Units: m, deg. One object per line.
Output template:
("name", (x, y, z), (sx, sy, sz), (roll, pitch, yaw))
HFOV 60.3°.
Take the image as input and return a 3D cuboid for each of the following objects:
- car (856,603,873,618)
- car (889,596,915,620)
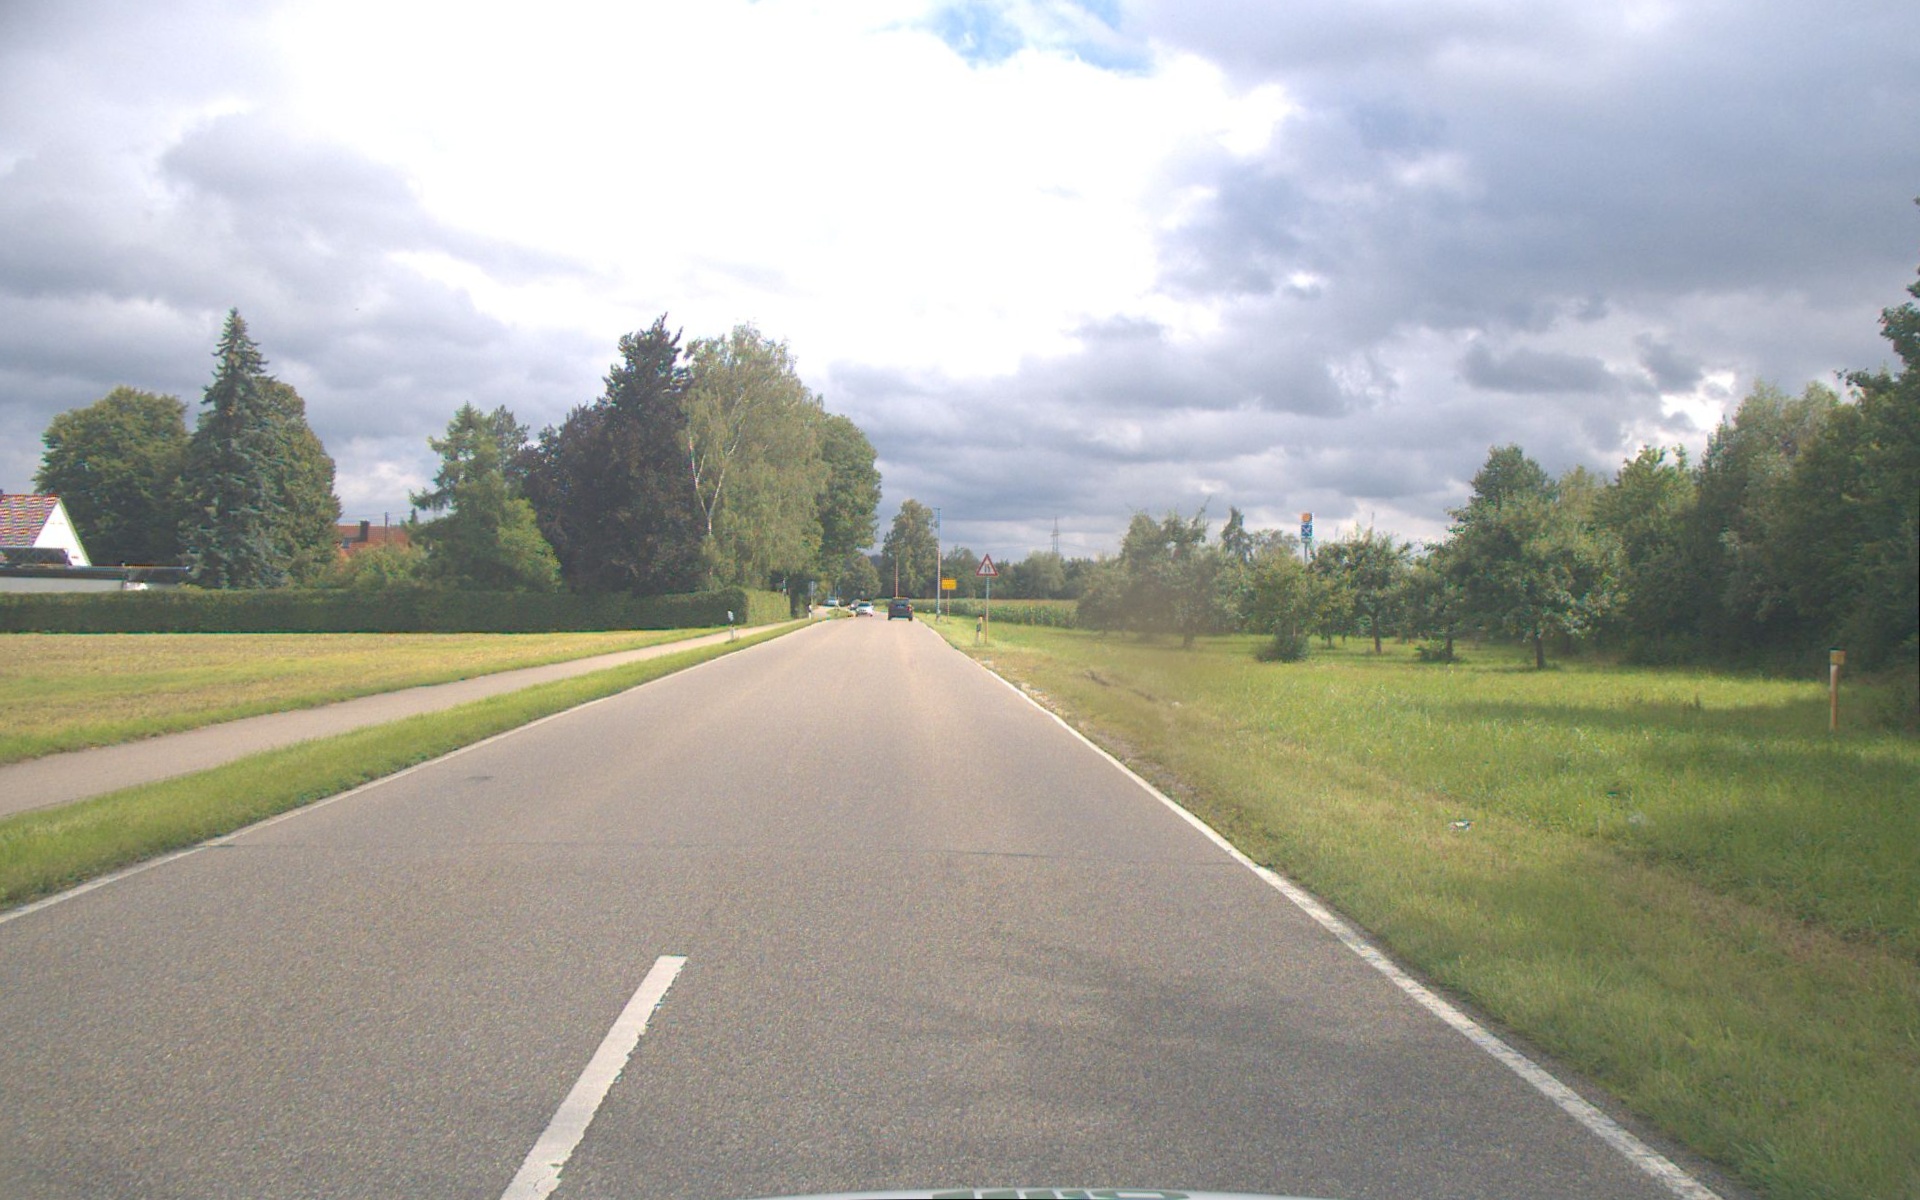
("car", (-9.632, 1.077, 166.767), (1.661, 1.484, 3.541), (0, 0, -2))
("car", (-4.335, 0.570, 123.138), (1.868, 1.695, 3.999), (-1, 0, -2))
